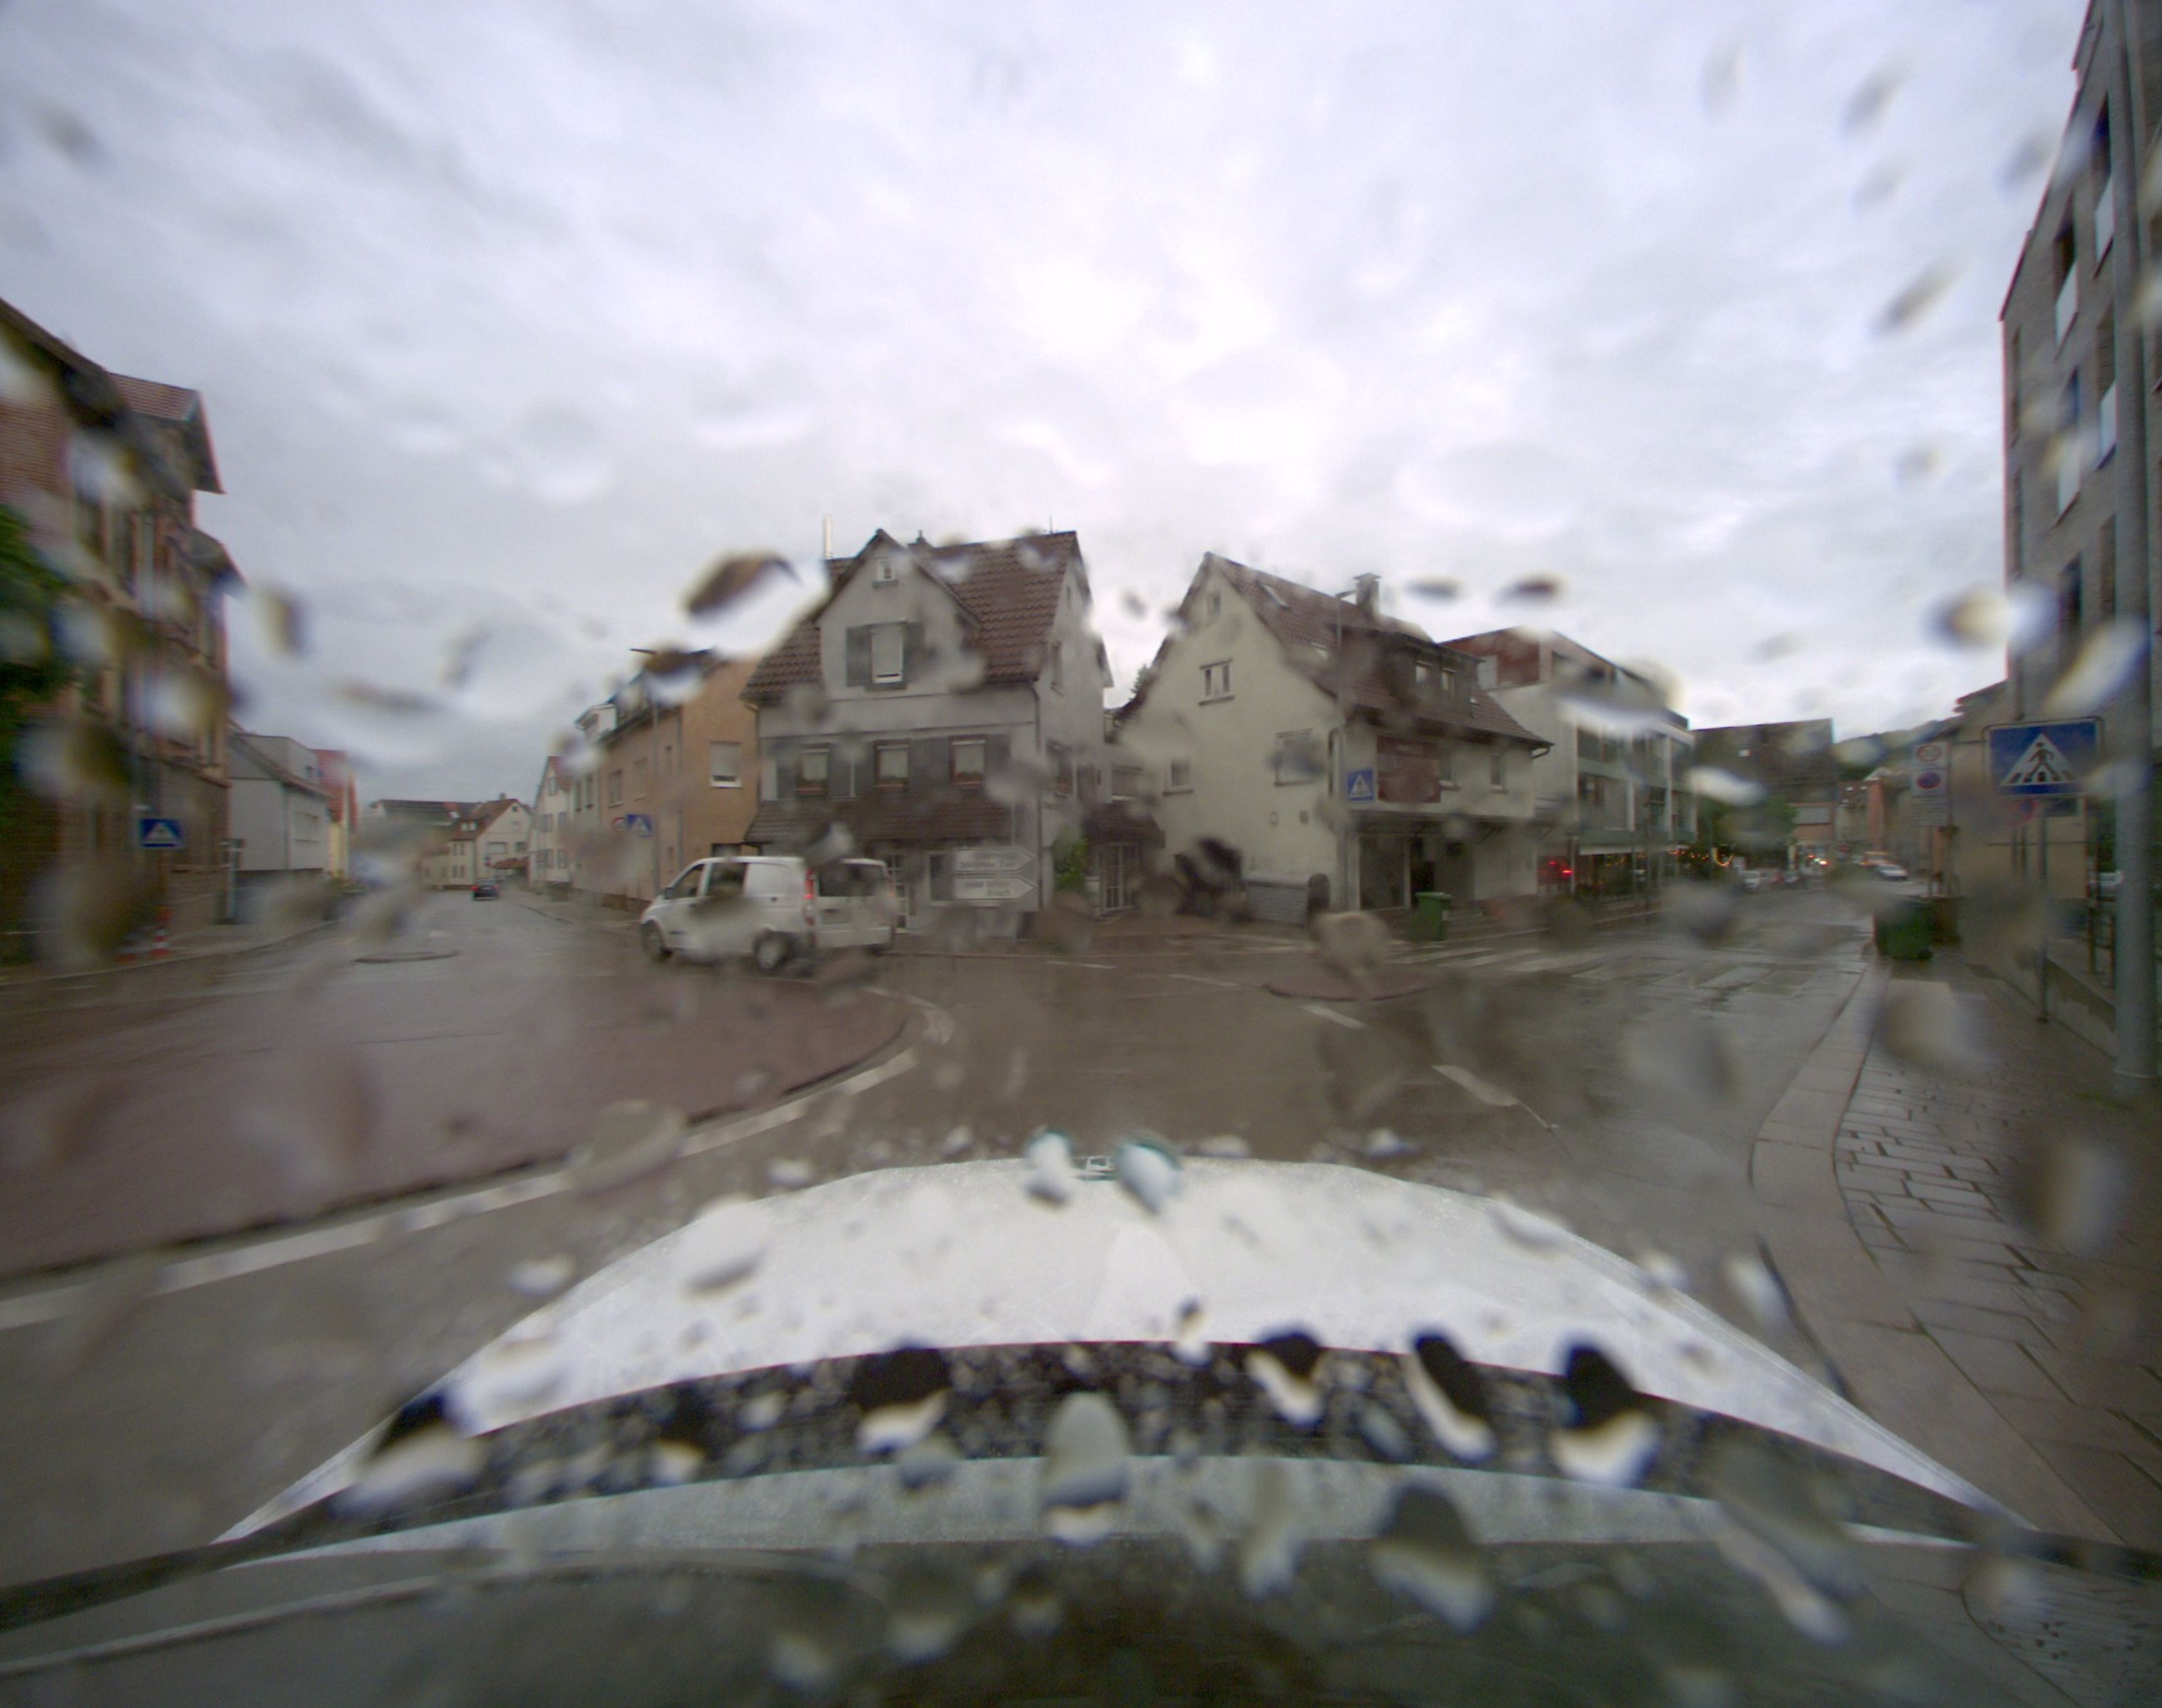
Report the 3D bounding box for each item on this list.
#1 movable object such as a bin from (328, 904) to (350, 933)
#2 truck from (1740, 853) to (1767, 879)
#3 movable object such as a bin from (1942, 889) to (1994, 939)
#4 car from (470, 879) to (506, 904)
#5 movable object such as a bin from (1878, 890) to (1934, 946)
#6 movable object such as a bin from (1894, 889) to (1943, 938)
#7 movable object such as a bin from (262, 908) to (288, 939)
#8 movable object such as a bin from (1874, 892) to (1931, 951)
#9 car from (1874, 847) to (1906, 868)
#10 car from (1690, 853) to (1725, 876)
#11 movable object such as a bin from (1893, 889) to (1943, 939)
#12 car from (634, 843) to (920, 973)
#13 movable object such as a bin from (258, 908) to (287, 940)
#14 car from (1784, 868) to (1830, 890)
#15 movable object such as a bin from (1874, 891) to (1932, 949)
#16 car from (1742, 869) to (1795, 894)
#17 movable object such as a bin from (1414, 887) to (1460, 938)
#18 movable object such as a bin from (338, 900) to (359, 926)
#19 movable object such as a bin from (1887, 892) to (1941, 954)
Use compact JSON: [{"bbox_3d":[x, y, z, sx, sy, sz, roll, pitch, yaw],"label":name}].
[{"bbox_3d":[-30.827,2.677,33.857,0.632,1.173,0.752,2,-3,-41],"label":"movable object such as a bin"},{"bbox_3d":[60.100,1.054,72.790,1.582,2.062,3.213,-3,2,44],"label":"truck"},{"bbox_3d":[20.080,1.342,18.454,0.630,1.095,0.759,1,-2,-44],"label":"movable object such as a bin"},{"bbox_3d":[-43.338,2.738,59.510,1.988,1.680,4.021,0,-2,-39],"label":"car"},{"bbox_3d":[16.790,1.291,16.584,0.584,1.095,0.759,1,-3,-44],"label":"movable object such as a bin"},{"bbox_3d":[19.510,1.374,18.980,0.584,1.095,0.759,1,-3,-44],"label":"movable object such as a bin"},{"bbox_3d":[-31.764,2.745,32.095,0.674,1.169,0.593,2,-3,-42],"label":"movable object such as a bin"},{"bbox_3d":[15.870,1.285,15.733,0.661,1.095,0.733,1,-3,-44],"label":"movable object such as a bin"},{"bbox_3d":[89.699,0.414,90.370,2.083,2.147,4.897,-3,-2,40],"label":"car"},{"bbox_3d":[57.168,0.903,74.292,4.023,1.617,1.796,-8,5,-42],"label":"car"},{"bbox_3d":[19.081,1.361,18.566,0.584,1.095,0.759,1,-3,-44],"label":"movable object such as a bin"},{"bbox_3d":[-5.347,0.890,14.104,4.861,1.899,2.173,-3,-2,34],"label":"car"},{"bbox_3d":[-31.250,2.703,31.489,0.754,1.169,0.624,2,-3,-42],"label":"movable object such as a bin"},{"bbox_3d":[52.221,1.774,58.529,3.927,1.458,1.701,0,0,-37],"label":"car"},{"bbox_3d":[16.333,1.290,16.183,0.584,1.095,0.759,1,-3,-44],"label":"movable object such as a bin"},{"bbox_3d":[43.717,1.699,51.754,4.476,1.499,1.772,1,-2,-39],"label":"car"},{"bbox_3d":[8.165,1.327,18.676,0.681,1.081,0.765,2,0,45],"label":"movable object such as a bin"},{"bbox_3d":[-33.940,2.712,37.738,0.660,1.169,0.772,2,-3,-41],"label":"movable object such as a bin"},{"bbox_3d":[15.505,1.267,15.169,0.657,1.095,0.554,-2,-3,45],"label":"movable object such as a bin"}]
